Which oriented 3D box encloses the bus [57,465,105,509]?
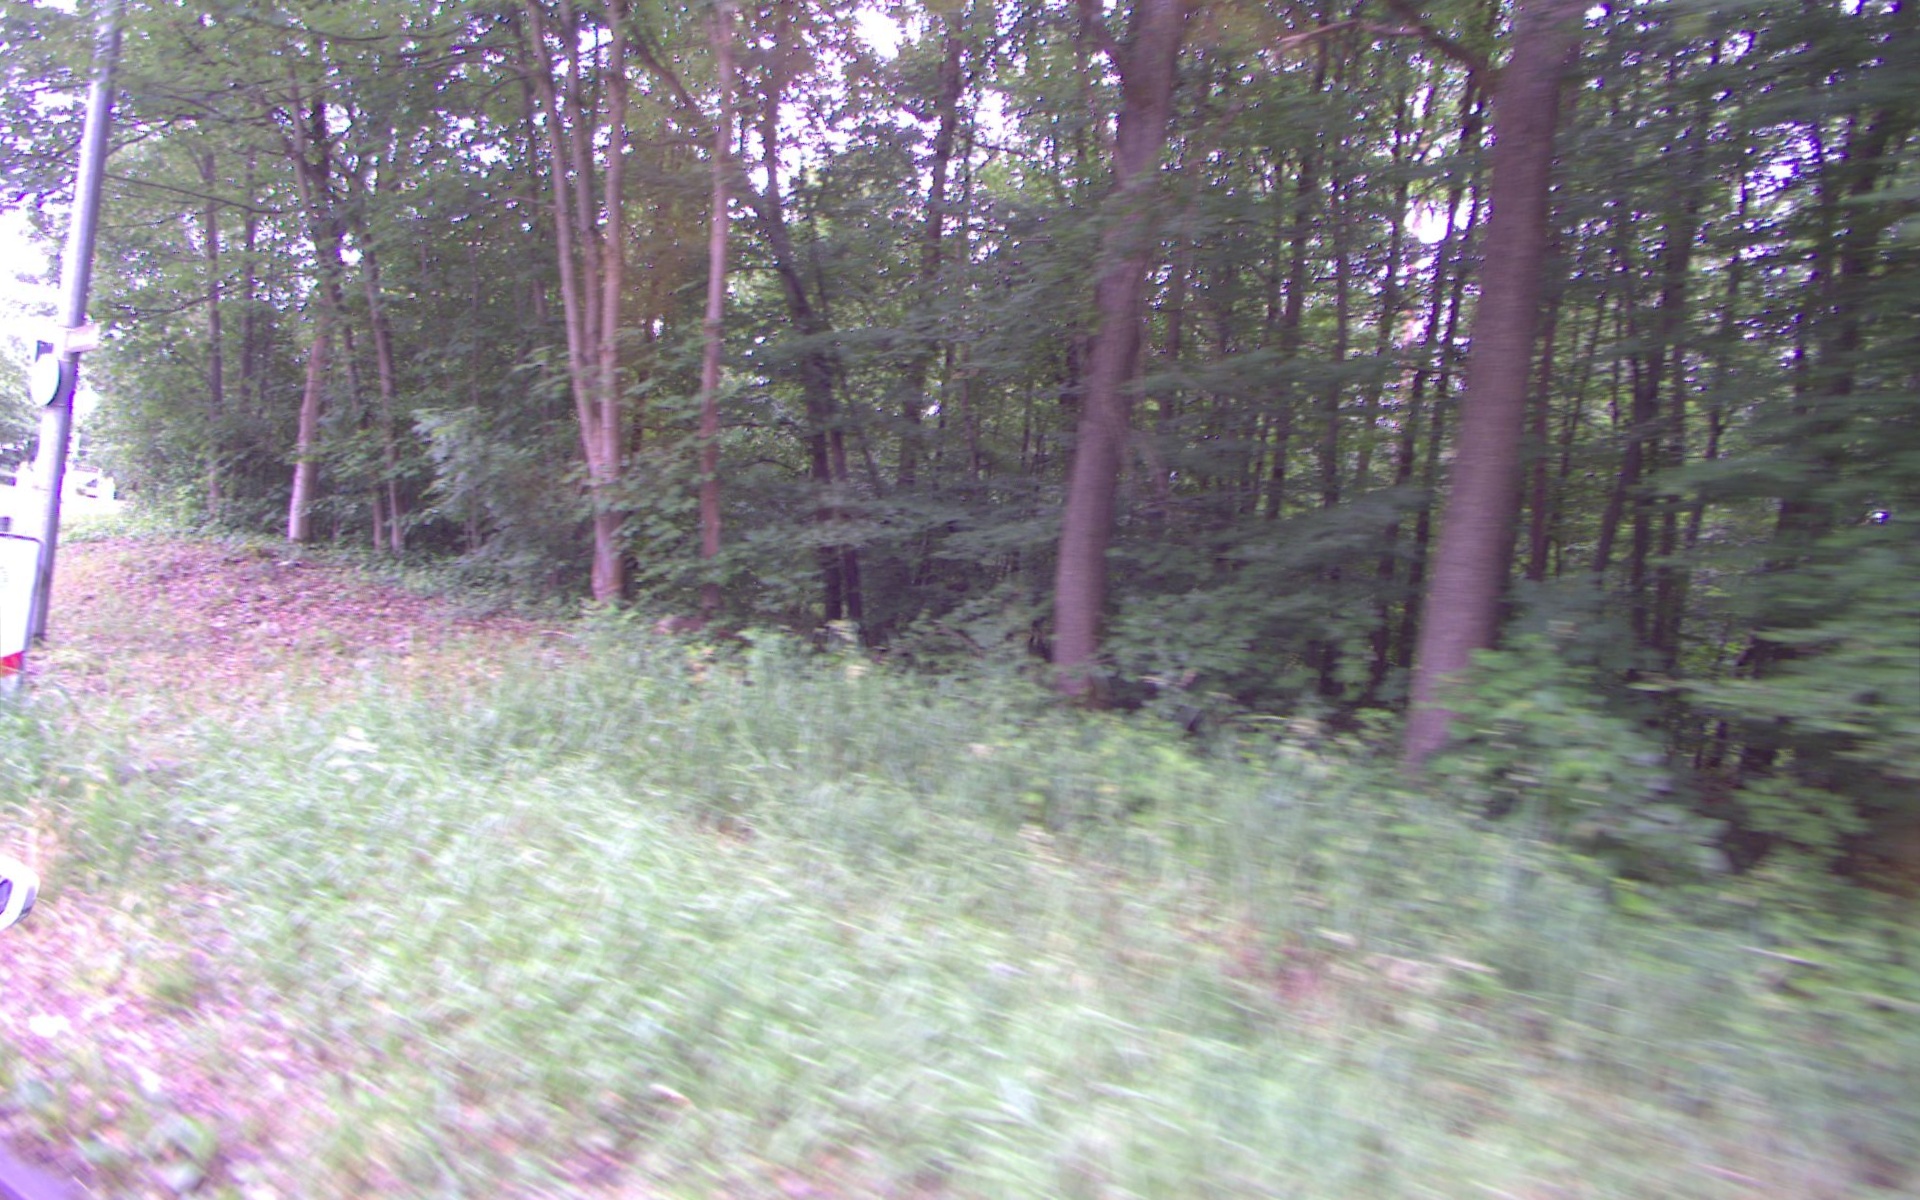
[{"bbox_3d":[-87.119,-11.243,99.573,2.814,3.647,12.642,8,0,-44],"label":"bus"}]

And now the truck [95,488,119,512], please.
[{"bbox_3d":[-134.527,-15.799,158.628,2.474,3.327,8.421,7,0,-41],"label":"truck"}]
